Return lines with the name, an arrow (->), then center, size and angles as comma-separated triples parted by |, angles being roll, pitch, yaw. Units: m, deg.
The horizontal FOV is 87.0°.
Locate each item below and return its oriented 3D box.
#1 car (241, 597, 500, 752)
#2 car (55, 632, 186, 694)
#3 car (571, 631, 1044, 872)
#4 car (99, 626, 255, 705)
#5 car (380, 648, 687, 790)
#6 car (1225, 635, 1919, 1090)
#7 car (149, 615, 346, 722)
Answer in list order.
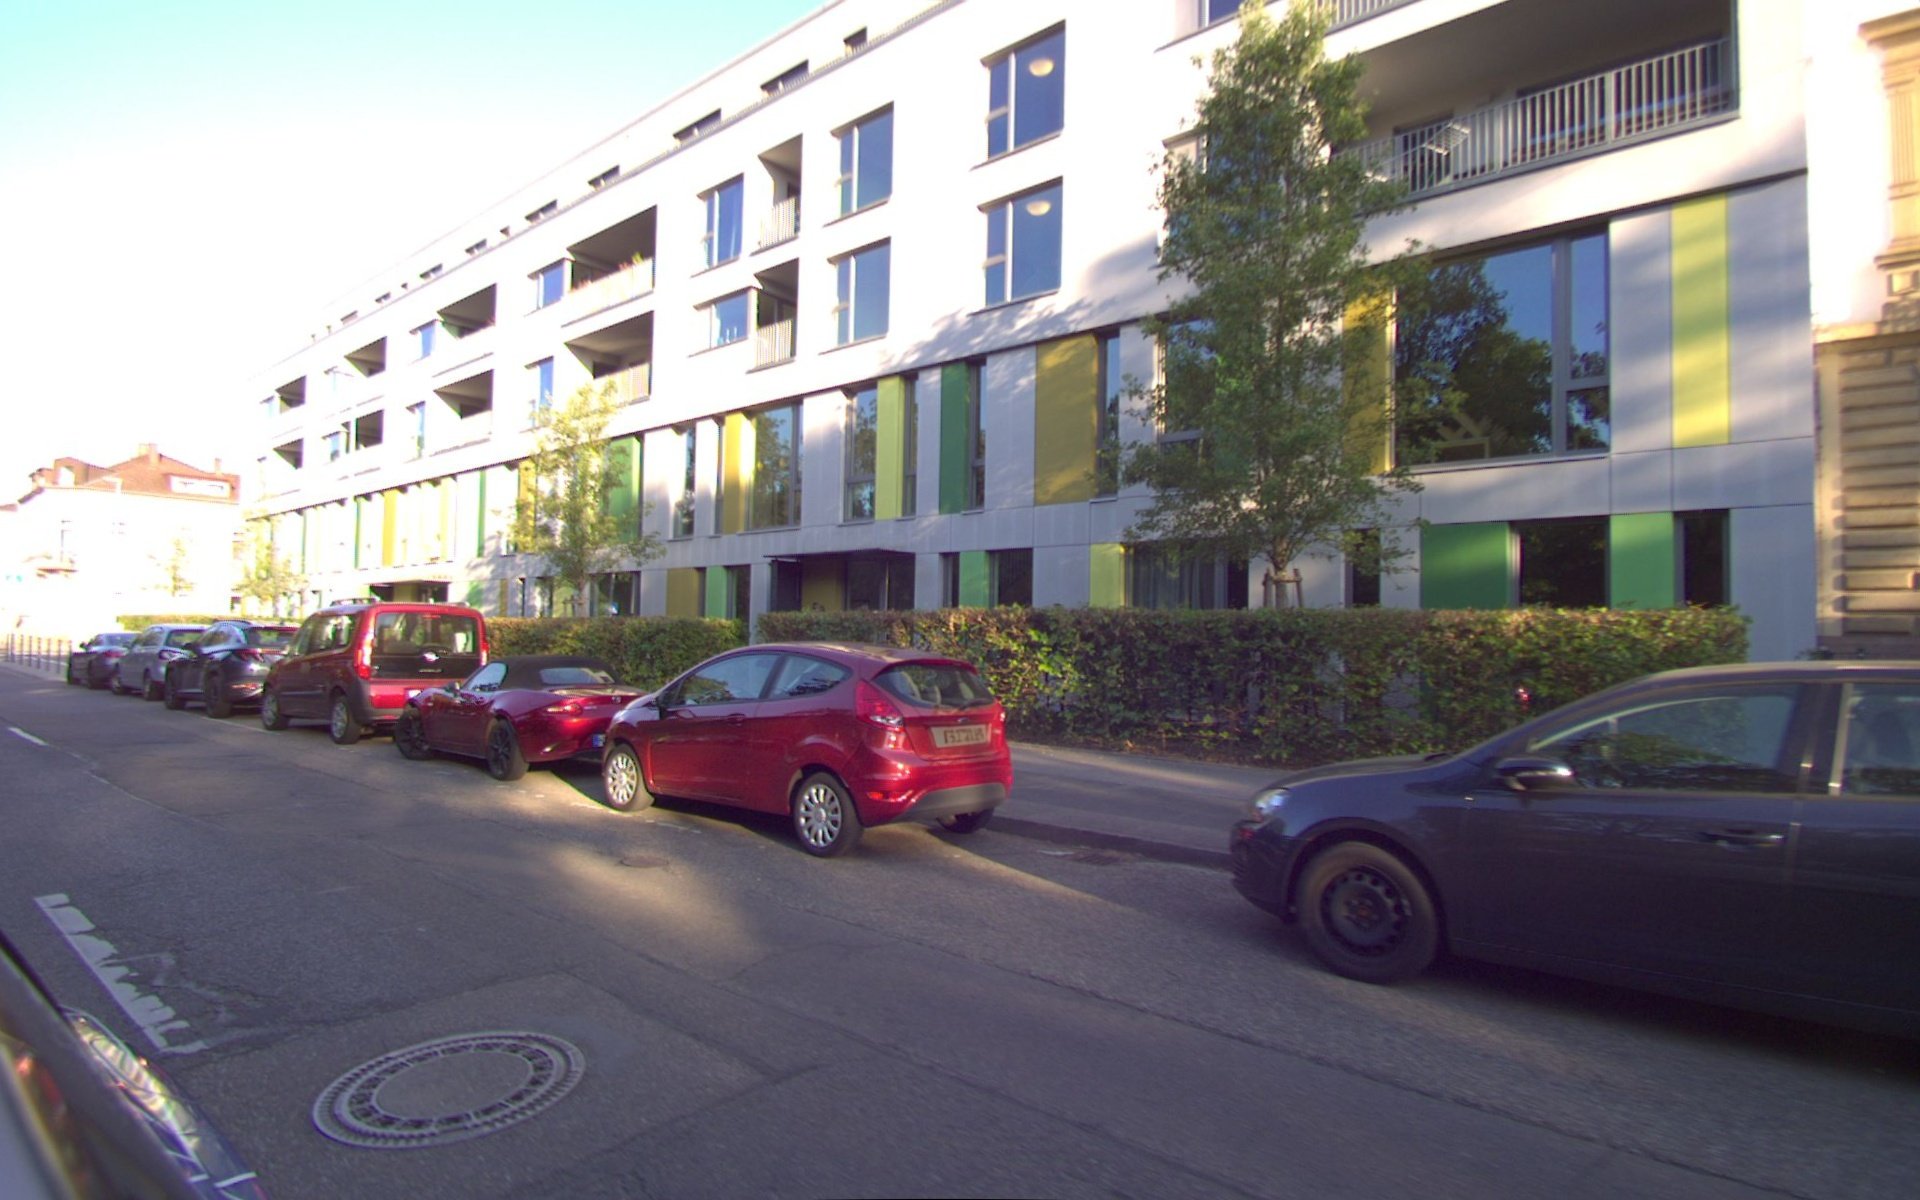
car -> -8.533, 1.017, 14.515 | 4.234, 1.904, 1.789 | -2, -5, 40
car -> -20.659, 1.511, 24.832 | 4.394, 1.367, 1.724 | -1, -4, 41
car -> -1.366, 1.015, 8.135 | 3.858, 1.466, 1.582 | -1, -4, 40
car -> -16.932, 1.357, 21.828 | 4.111, 1.545, 1.725 | -2, -3, 39
car -> -4.787, 1.202, 11.150 | 3.729, 1.290, 1.540 | -2, -5, 40
car -> 3.321, 0.906, 4.154 | 4.051, 1.466, 1.582 | -2, -5, 40
car -> -12.765, 1.190, 18.034 | 4.412, 1.689, 1.724 | -2, -5, 40
